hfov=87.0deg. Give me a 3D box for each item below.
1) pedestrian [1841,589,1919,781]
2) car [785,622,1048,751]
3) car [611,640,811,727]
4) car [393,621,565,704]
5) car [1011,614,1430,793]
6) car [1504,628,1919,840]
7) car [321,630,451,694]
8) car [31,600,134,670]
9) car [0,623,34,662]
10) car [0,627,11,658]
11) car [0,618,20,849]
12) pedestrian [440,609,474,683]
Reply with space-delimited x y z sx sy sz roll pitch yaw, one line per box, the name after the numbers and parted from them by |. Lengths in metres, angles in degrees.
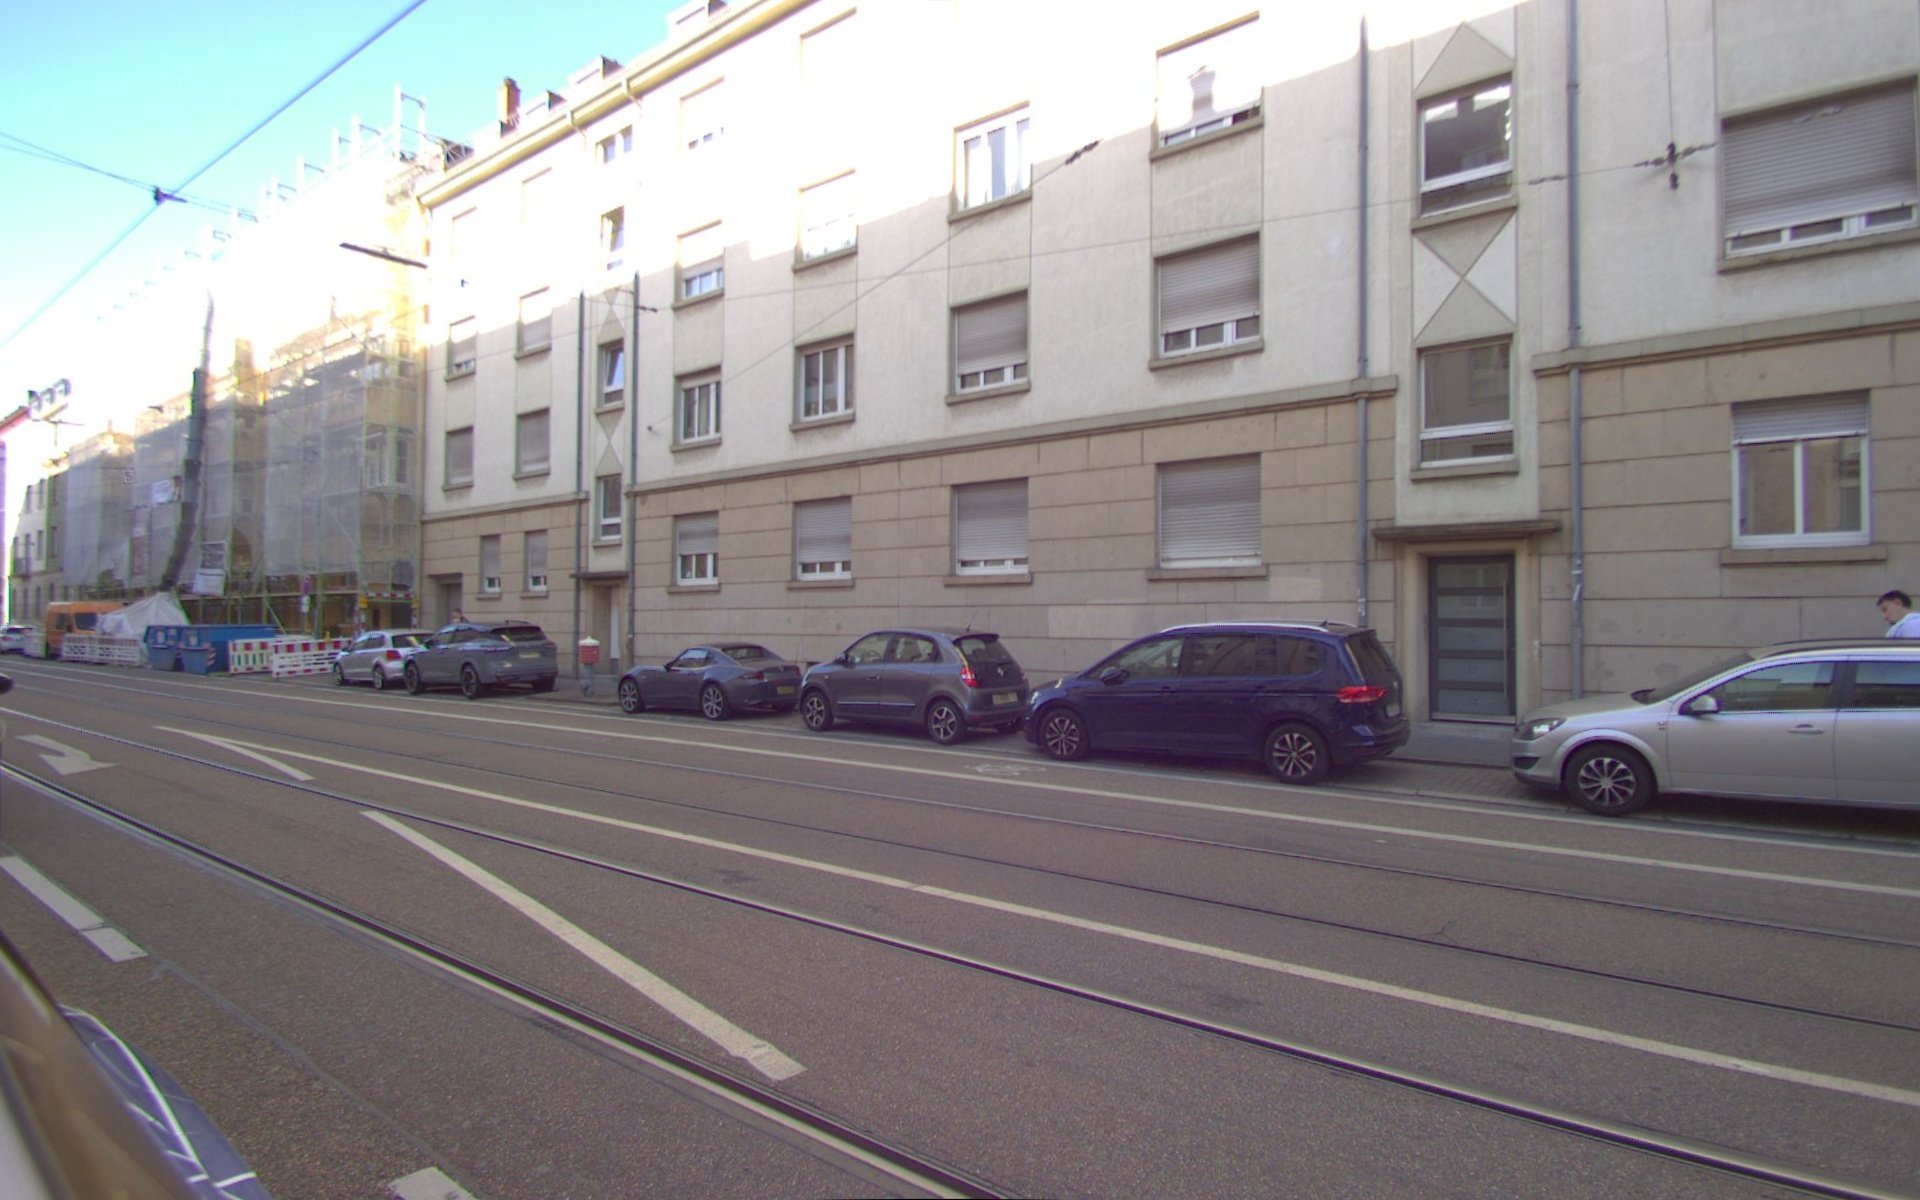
9.152 0.788 9.650 1.002 1.781 0.657 -1 0 31 | pedestrian
-0.691 1.143 14.633 3.591 1.570 1.624 -1 1 38 | car
-4.342 1.371 17.449 3.518 1.229 1.458 -1 1 37 | car
-10.807 1.320 22.632 4.152 1.621 1.731 -1 1 37 | car
2.883 1.019 11.667 4.318 1.645 1.798 -1 1 37 | car
7.113 1.012 8.406 4.363 1.465 1.709 -1 1 37 | car
-14.413 1.507 25.371 3.502 1.390 1.546 -1 1 37 | car
-36.458 1.390 41.997 5.866 2.717 2.188 -1 0 39 | car
-50.033 2.209 53.351 1.635 1.937 3.767 -1 0 -44 | car
-54.783 2.398 56.892 3.932 1.696 1.550 -1 0 39 | car
-7.940 0.874 6.952 3.814 1.436 1.705 -2 -3 40 | car
-13.187 1.186 26.513 0.762 1.886 0.513 -1 0 38 | pedestrian
